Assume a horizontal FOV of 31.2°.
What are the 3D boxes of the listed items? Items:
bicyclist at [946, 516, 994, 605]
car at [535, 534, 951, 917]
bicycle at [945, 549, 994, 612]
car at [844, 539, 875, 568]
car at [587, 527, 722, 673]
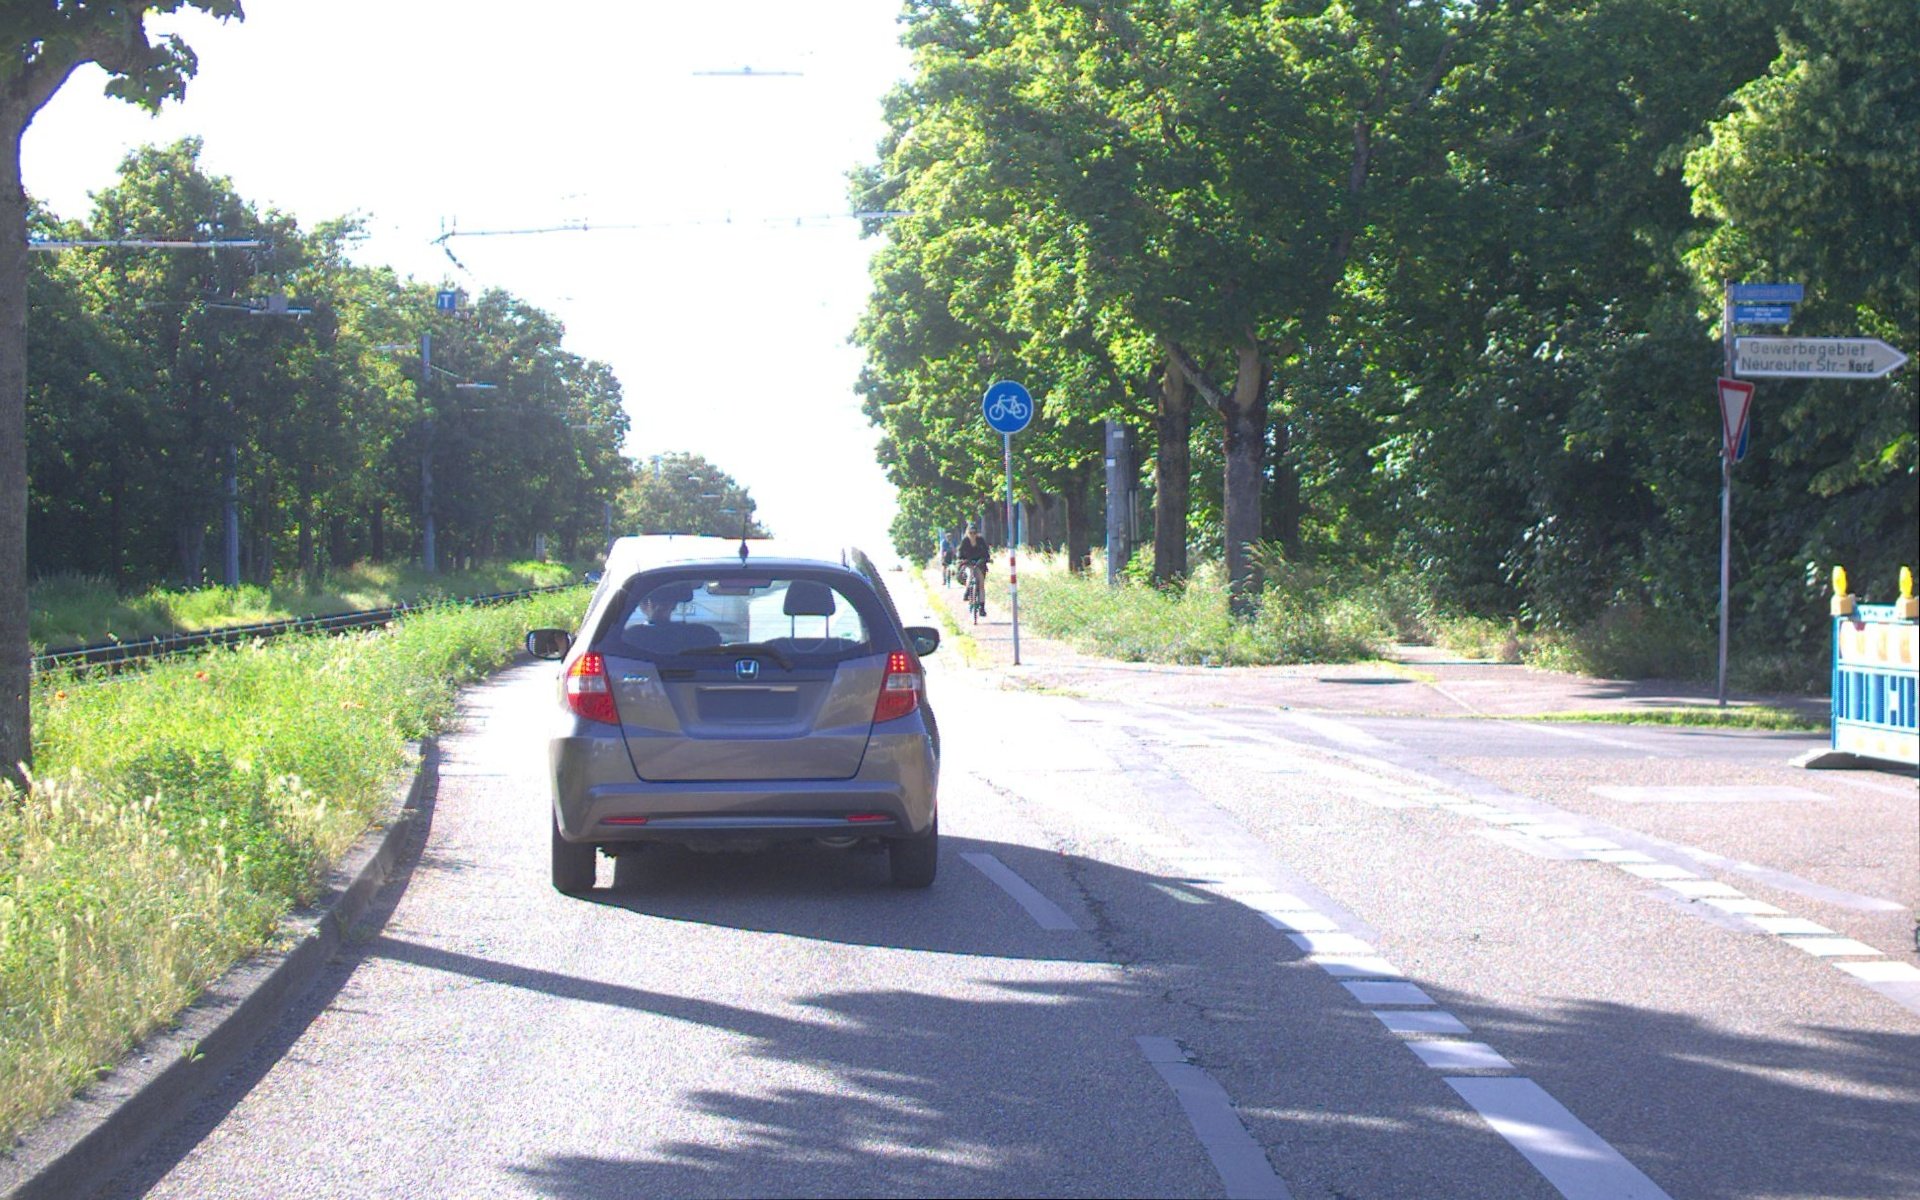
[{"bbox_3d":[0.176,-0.686,59.811,0.818,1.519,0.966,0,-1,0],"label":"bicyclist"},{"bbox_3d":[-1.029,0.486,15.937,1.670,1.510,3.674,1,1,-4],"label":"car"},{"bbox_3d":[0.163,-0.325,59.787,0.818,1.044,2.506,0,-1,0],"label":"bicycle"},{"bbox_3d":[-7.403,-3.420,253.624,1.993,2.007,4.000,-4,0,0],"label":"car"},{"bbox_3d":[-3.384,0.004,37.761,1.351,1.522,3.124,-1,0,-7],"label":"car"}]
